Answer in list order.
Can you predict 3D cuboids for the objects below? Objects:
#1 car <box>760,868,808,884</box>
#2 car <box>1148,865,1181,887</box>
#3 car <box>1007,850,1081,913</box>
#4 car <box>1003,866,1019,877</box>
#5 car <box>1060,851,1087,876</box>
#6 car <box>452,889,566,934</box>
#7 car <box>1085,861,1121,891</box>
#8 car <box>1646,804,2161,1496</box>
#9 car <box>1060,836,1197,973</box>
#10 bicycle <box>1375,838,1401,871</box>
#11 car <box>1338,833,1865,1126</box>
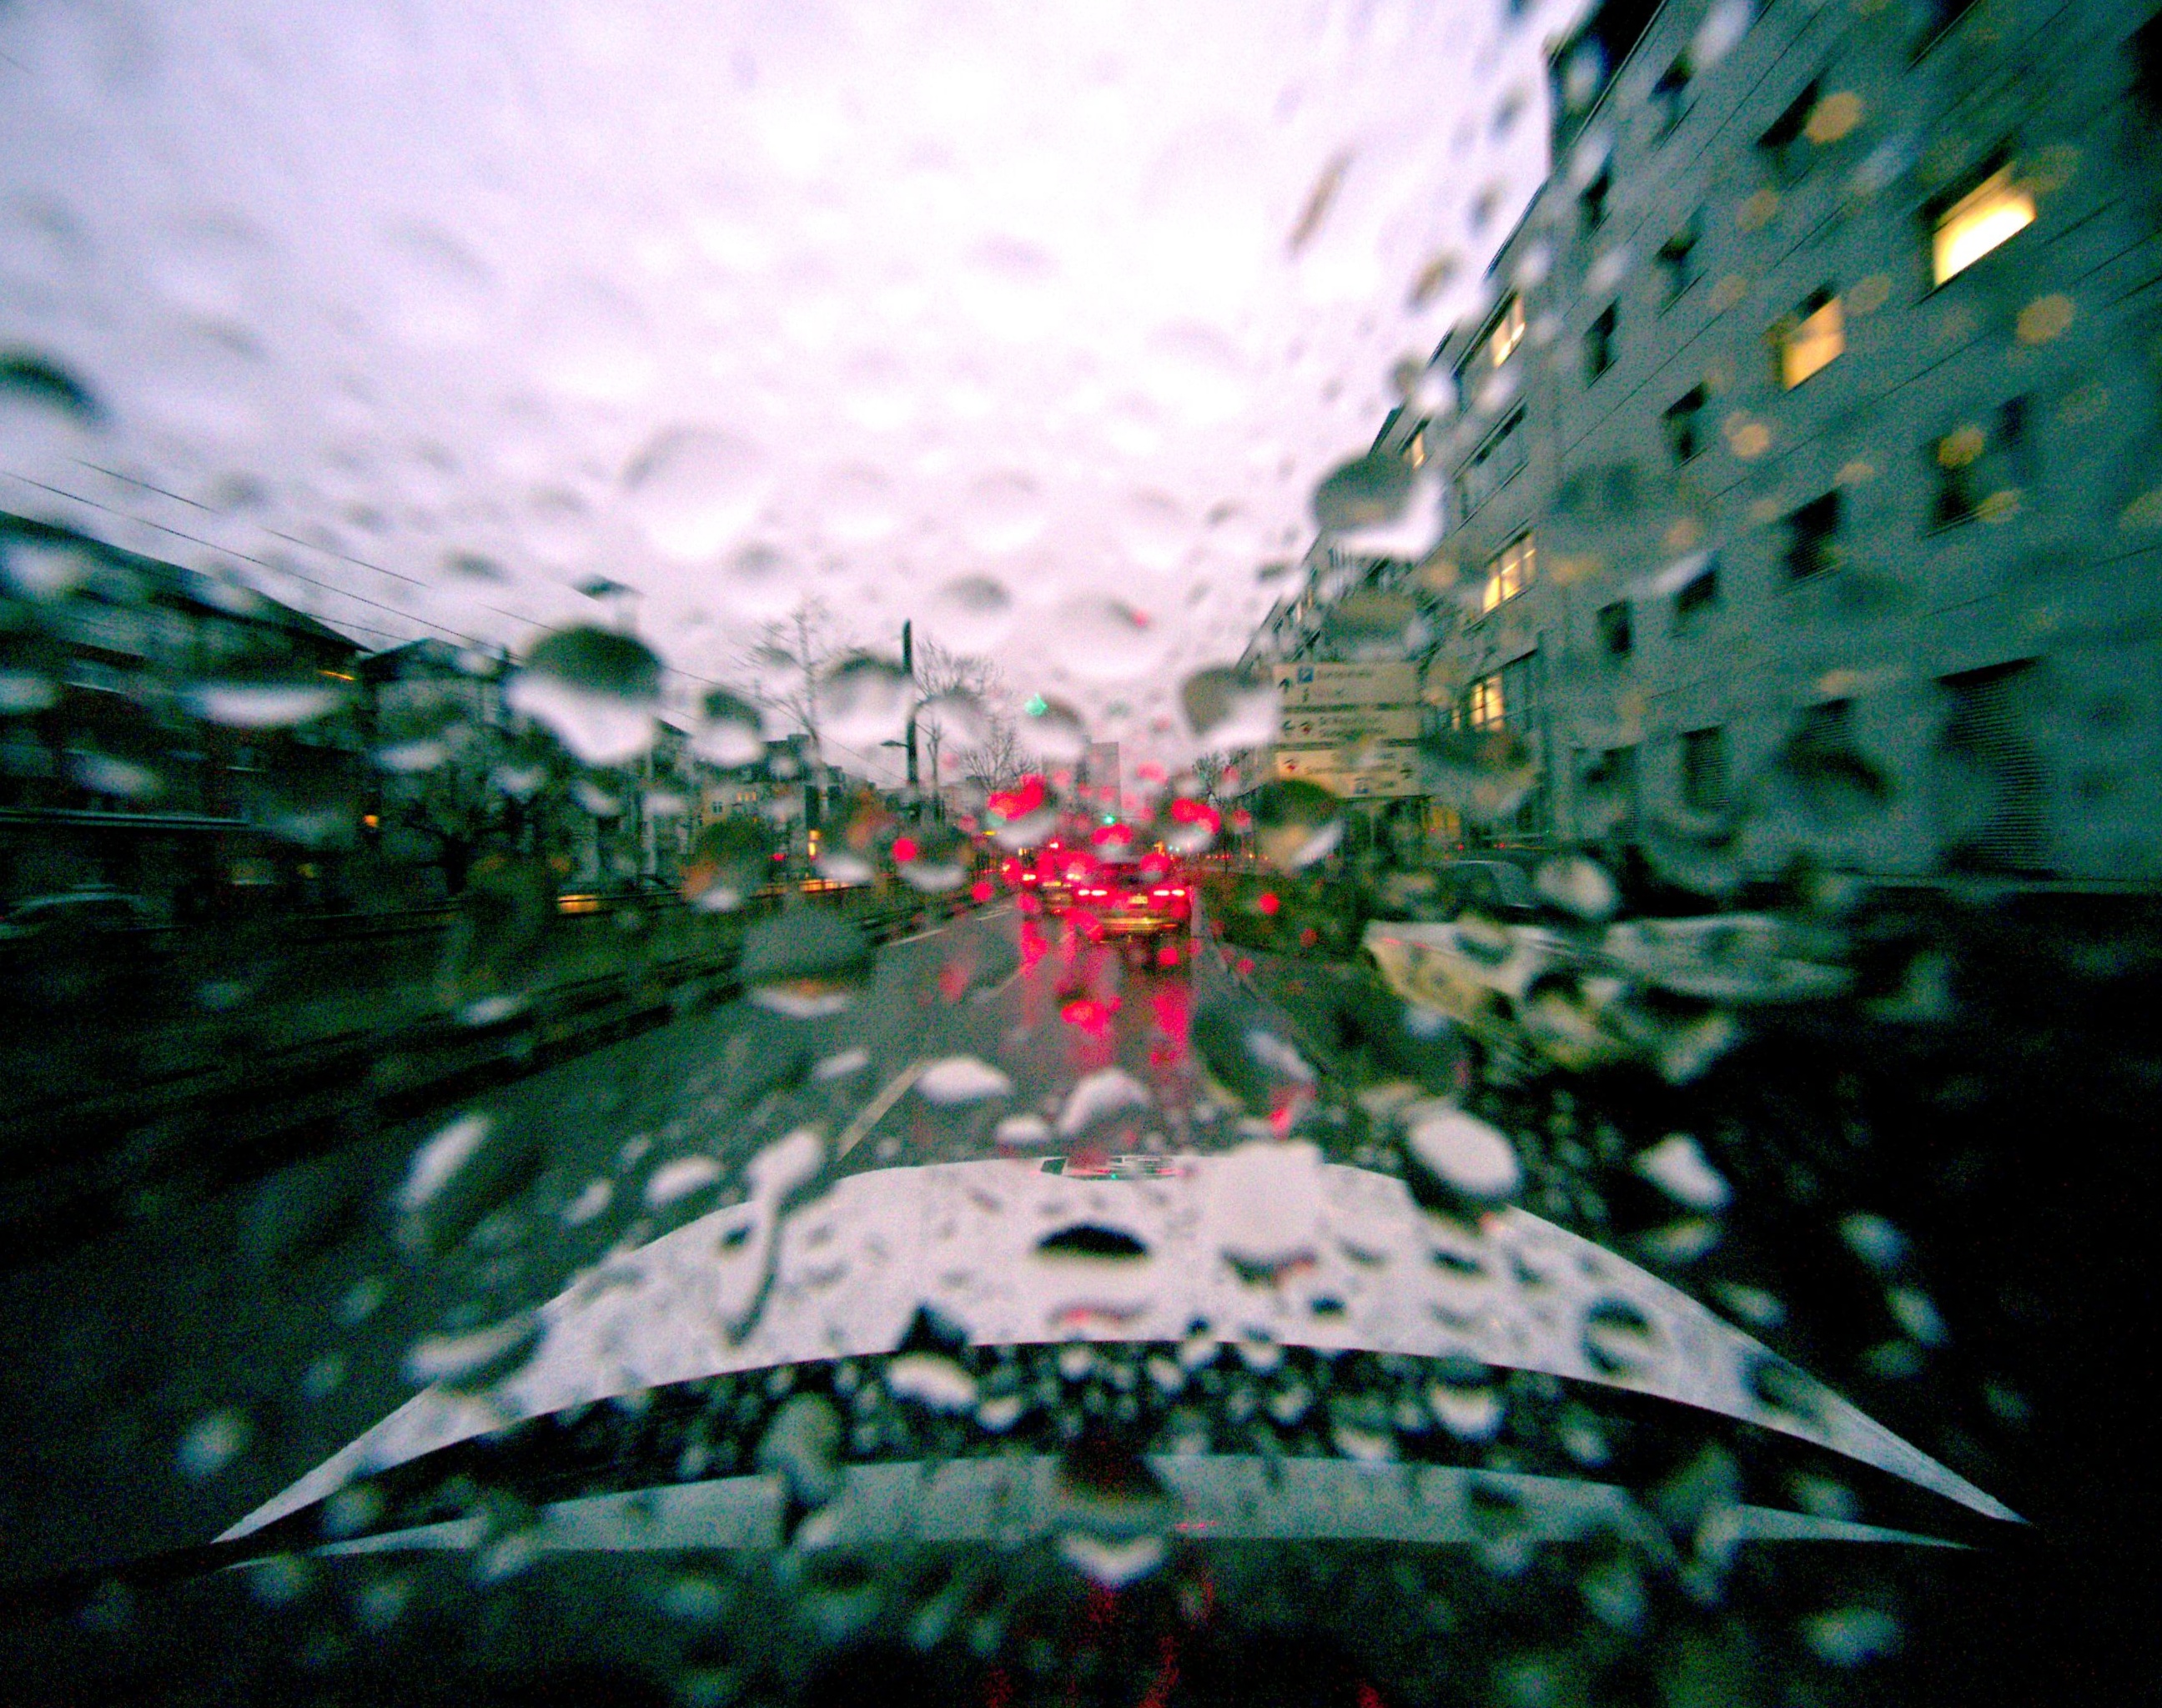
[{"bbox_3d":[-27.253,2.038,74.761,3.789,1.366,1.696,-1,-2,-3],"label":"car"},{"bbox_3d":[5.529,1.428,54.166,1.879,1.353,4.103,-1,0,2],"label":"car"},{"bbox_3d":[-1.026,0.820,24.690,1.987,1.712,4.324,-1,-1,0],"label":"car"},{"bbox_3d":[-10.522,2.640,123.145,1.750,1.497,3.764,-1,-1,5],"label":"car"},{"bbox_3d":[-0.609,0.783,70.208,1.944,2.033,4.886,-2,-1,2],"label":"car"},{"bbox_3d":[-20.597,2.045,29.487,1.681,1.435,3.239,-1,-1,3],"label":"car"},{"bbox_3d":[1.296,1.260,47.583,1.986,1.642,4.024,-1,-1,2],"label":"car"},{"bbox_3d":[3.014,0.587,1.154,1.746,1.403,4.255,-1,0,5],"label":"car"},{"bbox_3d":[0.677,0.788,14.049,1.988,1.976,4.066,-1,-1,-1],"label":"car"},{"bbox_3d":[13.144,0.012,34.932,0.816,1.273,2.469,-6,-1,18],"label":"bicycle"},{"bbox_3d":[3.210,0.640,5.906,1.585,1.394,3.488,-4,0,1],"label":"car"}]
